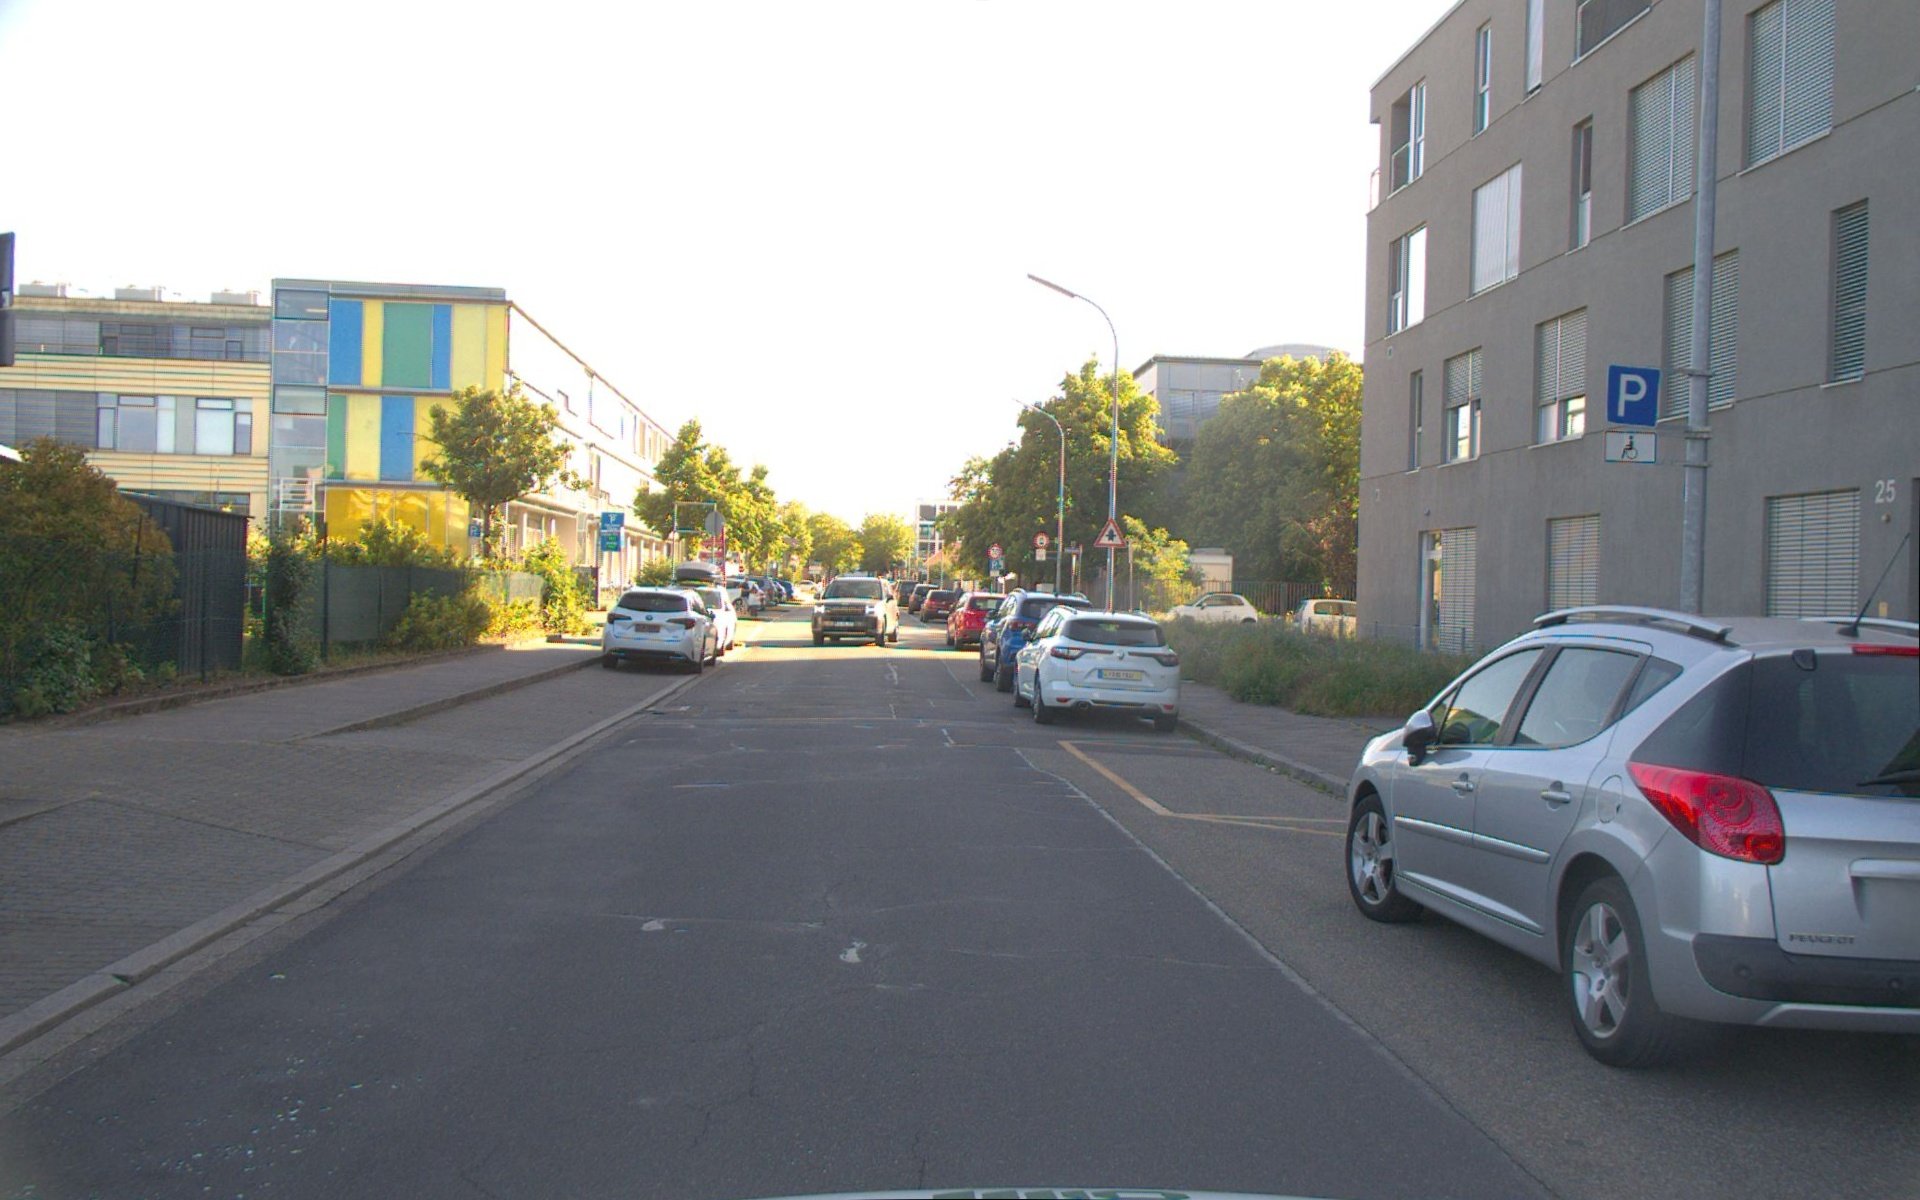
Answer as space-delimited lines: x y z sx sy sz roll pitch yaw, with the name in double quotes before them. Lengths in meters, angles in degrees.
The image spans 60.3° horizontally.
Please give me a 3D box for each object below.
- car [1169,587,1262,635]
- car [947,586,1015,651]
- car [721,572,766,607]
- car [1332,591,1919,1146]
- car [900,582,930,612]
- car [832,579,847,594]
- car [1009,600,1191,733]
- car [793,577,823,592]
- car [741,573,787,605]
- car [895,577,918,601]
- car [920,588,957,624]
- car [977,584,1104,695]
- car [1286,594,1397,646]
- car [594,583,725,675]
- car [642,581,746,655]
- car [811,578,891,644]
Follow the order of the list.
"car" 9.423 0.408 61.129 3.151 1.576 1.449 3 0 -1
"car" 0.521 0.463 44.015 1.417 1.576 3.611 3 0 -5
"car" -10.569 -0.503 81.030 1.818 1.590 4.131 3 0 -4
"car" 2.913 0.801 6.755 1.624 1.578 3.847 3 0 -4
"car" -2.524 -0.177 92.043 1.417 1.576 3.611 3 0 -5
"car" -13.286 -1.483 182.336 1.631 1.576 3.898 3 0 -5
"car" 1.720 0.796 21.641 1.707 1.453 4.131 3 0 -4
"car" -18.792 -1.893 204.003 3.536 1.576 1.447 3 0 -9
"car" -10.561 -0.564 89.330 1.816 1.590 4.134 3 0 1
"car" -3.830 -0.789 117.462 1.417 1.576 3.611 3 0 -5
"car" -1.000 0.260 76.181 1.417 1.576 3.611 3 0 -5
"car" 1.278 0.607 27.629 1.600 1.658 3.611 3 0 -5
"car" 12.232 0.628 53.129 3.151 1.486 1.449 3 0 -1
"car" -5.385 0.482 30.128 1.818 1.453 4.131 3 0 -4
"car" -5.817 0.358 36.584 1.818 1.453 4.131 3 0 -4
"car" -2.835 0.262 43.809 1.806 1.573 4.193 3 0 -1
